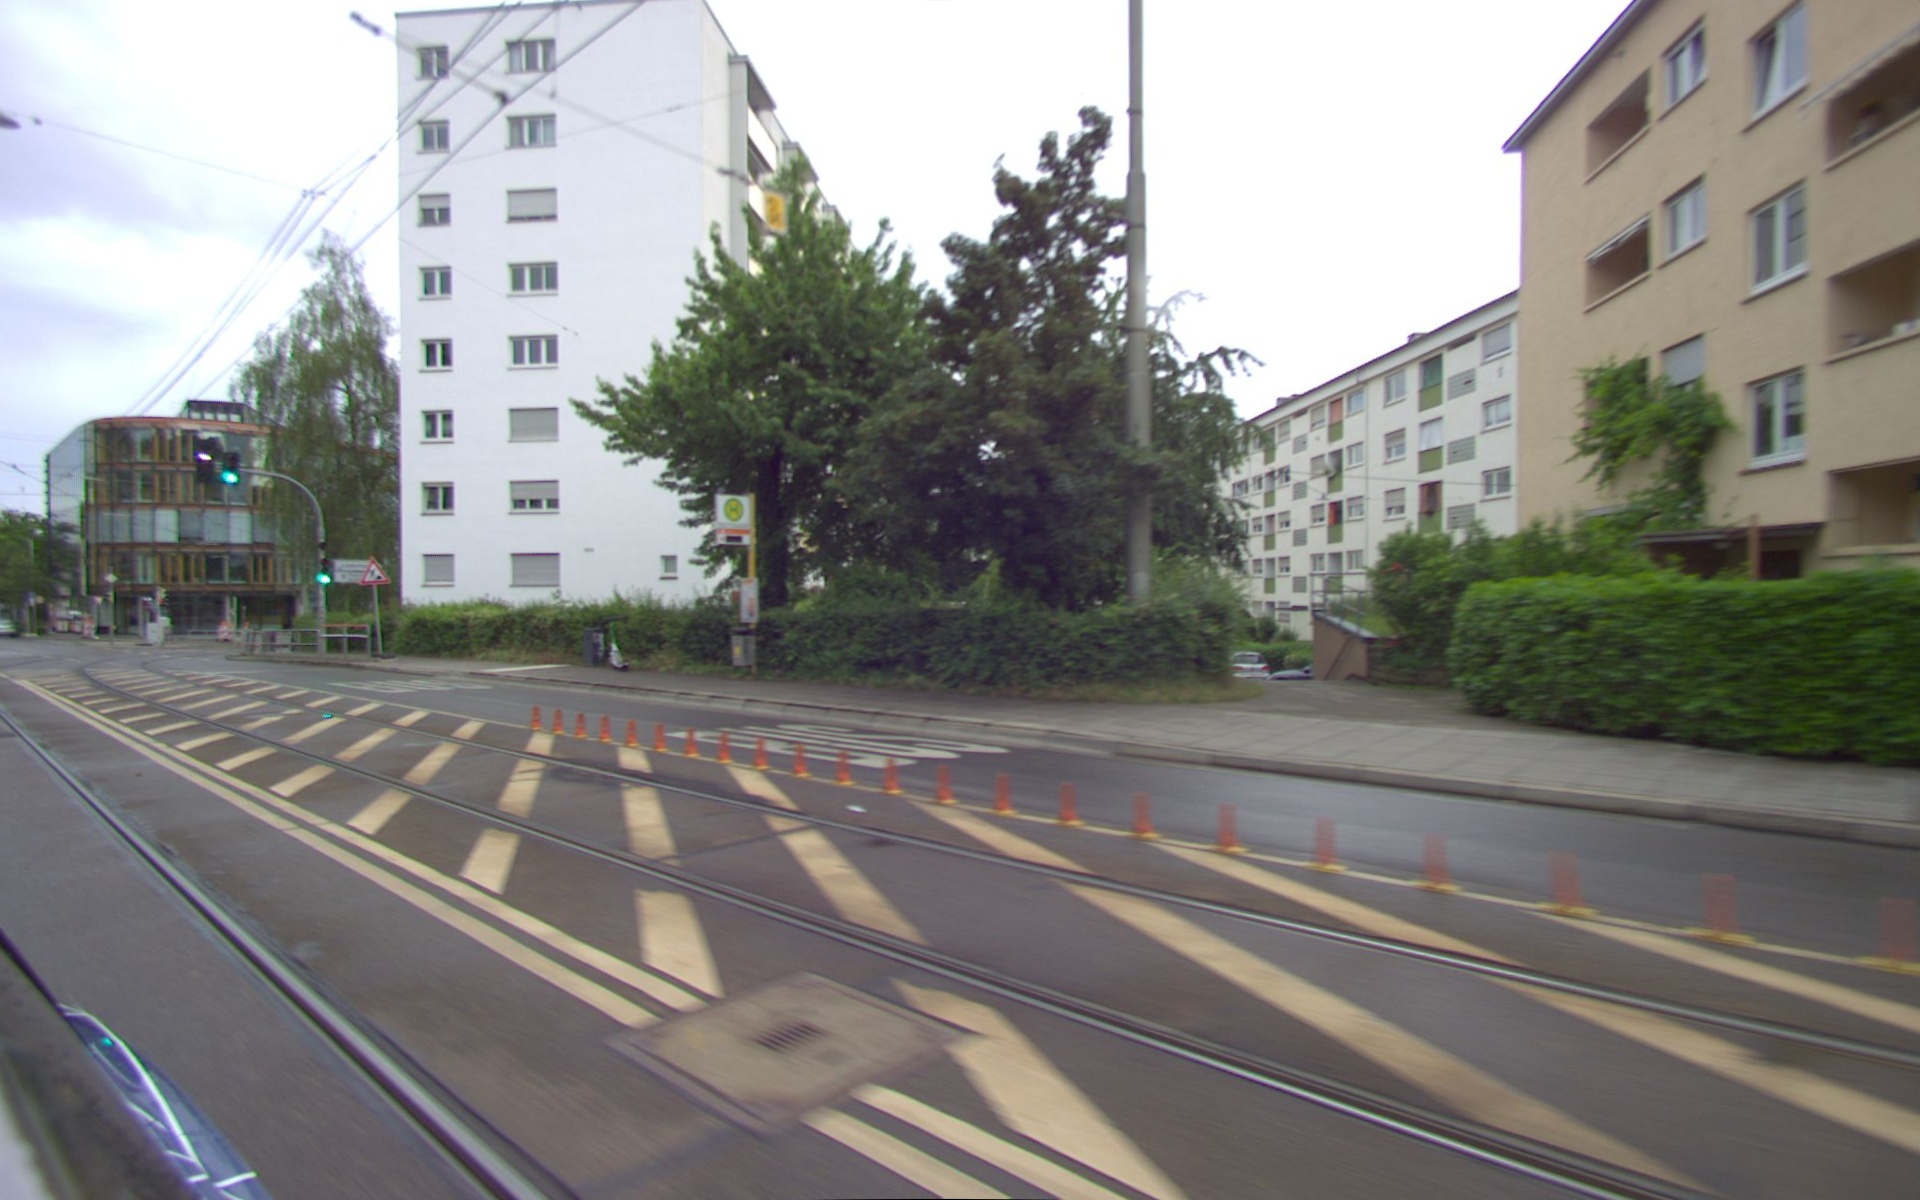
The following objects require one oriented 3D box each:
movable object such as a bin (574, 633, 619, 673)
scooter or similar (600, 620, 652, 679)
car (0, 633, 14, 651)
[{"bbox_3d":[-8.514,1.232,23.701,0.759,0.888,0.680,0,1,38],"label":"movable object such as a bin"},{"bbox_3d":[-7.297,1.049,22.084,0.565,1.193,1.603,-2,1,-37],"label":"scooter or similar"},{"bbox_3d":[-76.109,3.315,79.810,4.644,1.405,1.838,-2,-1,42],"label":"car"}]
